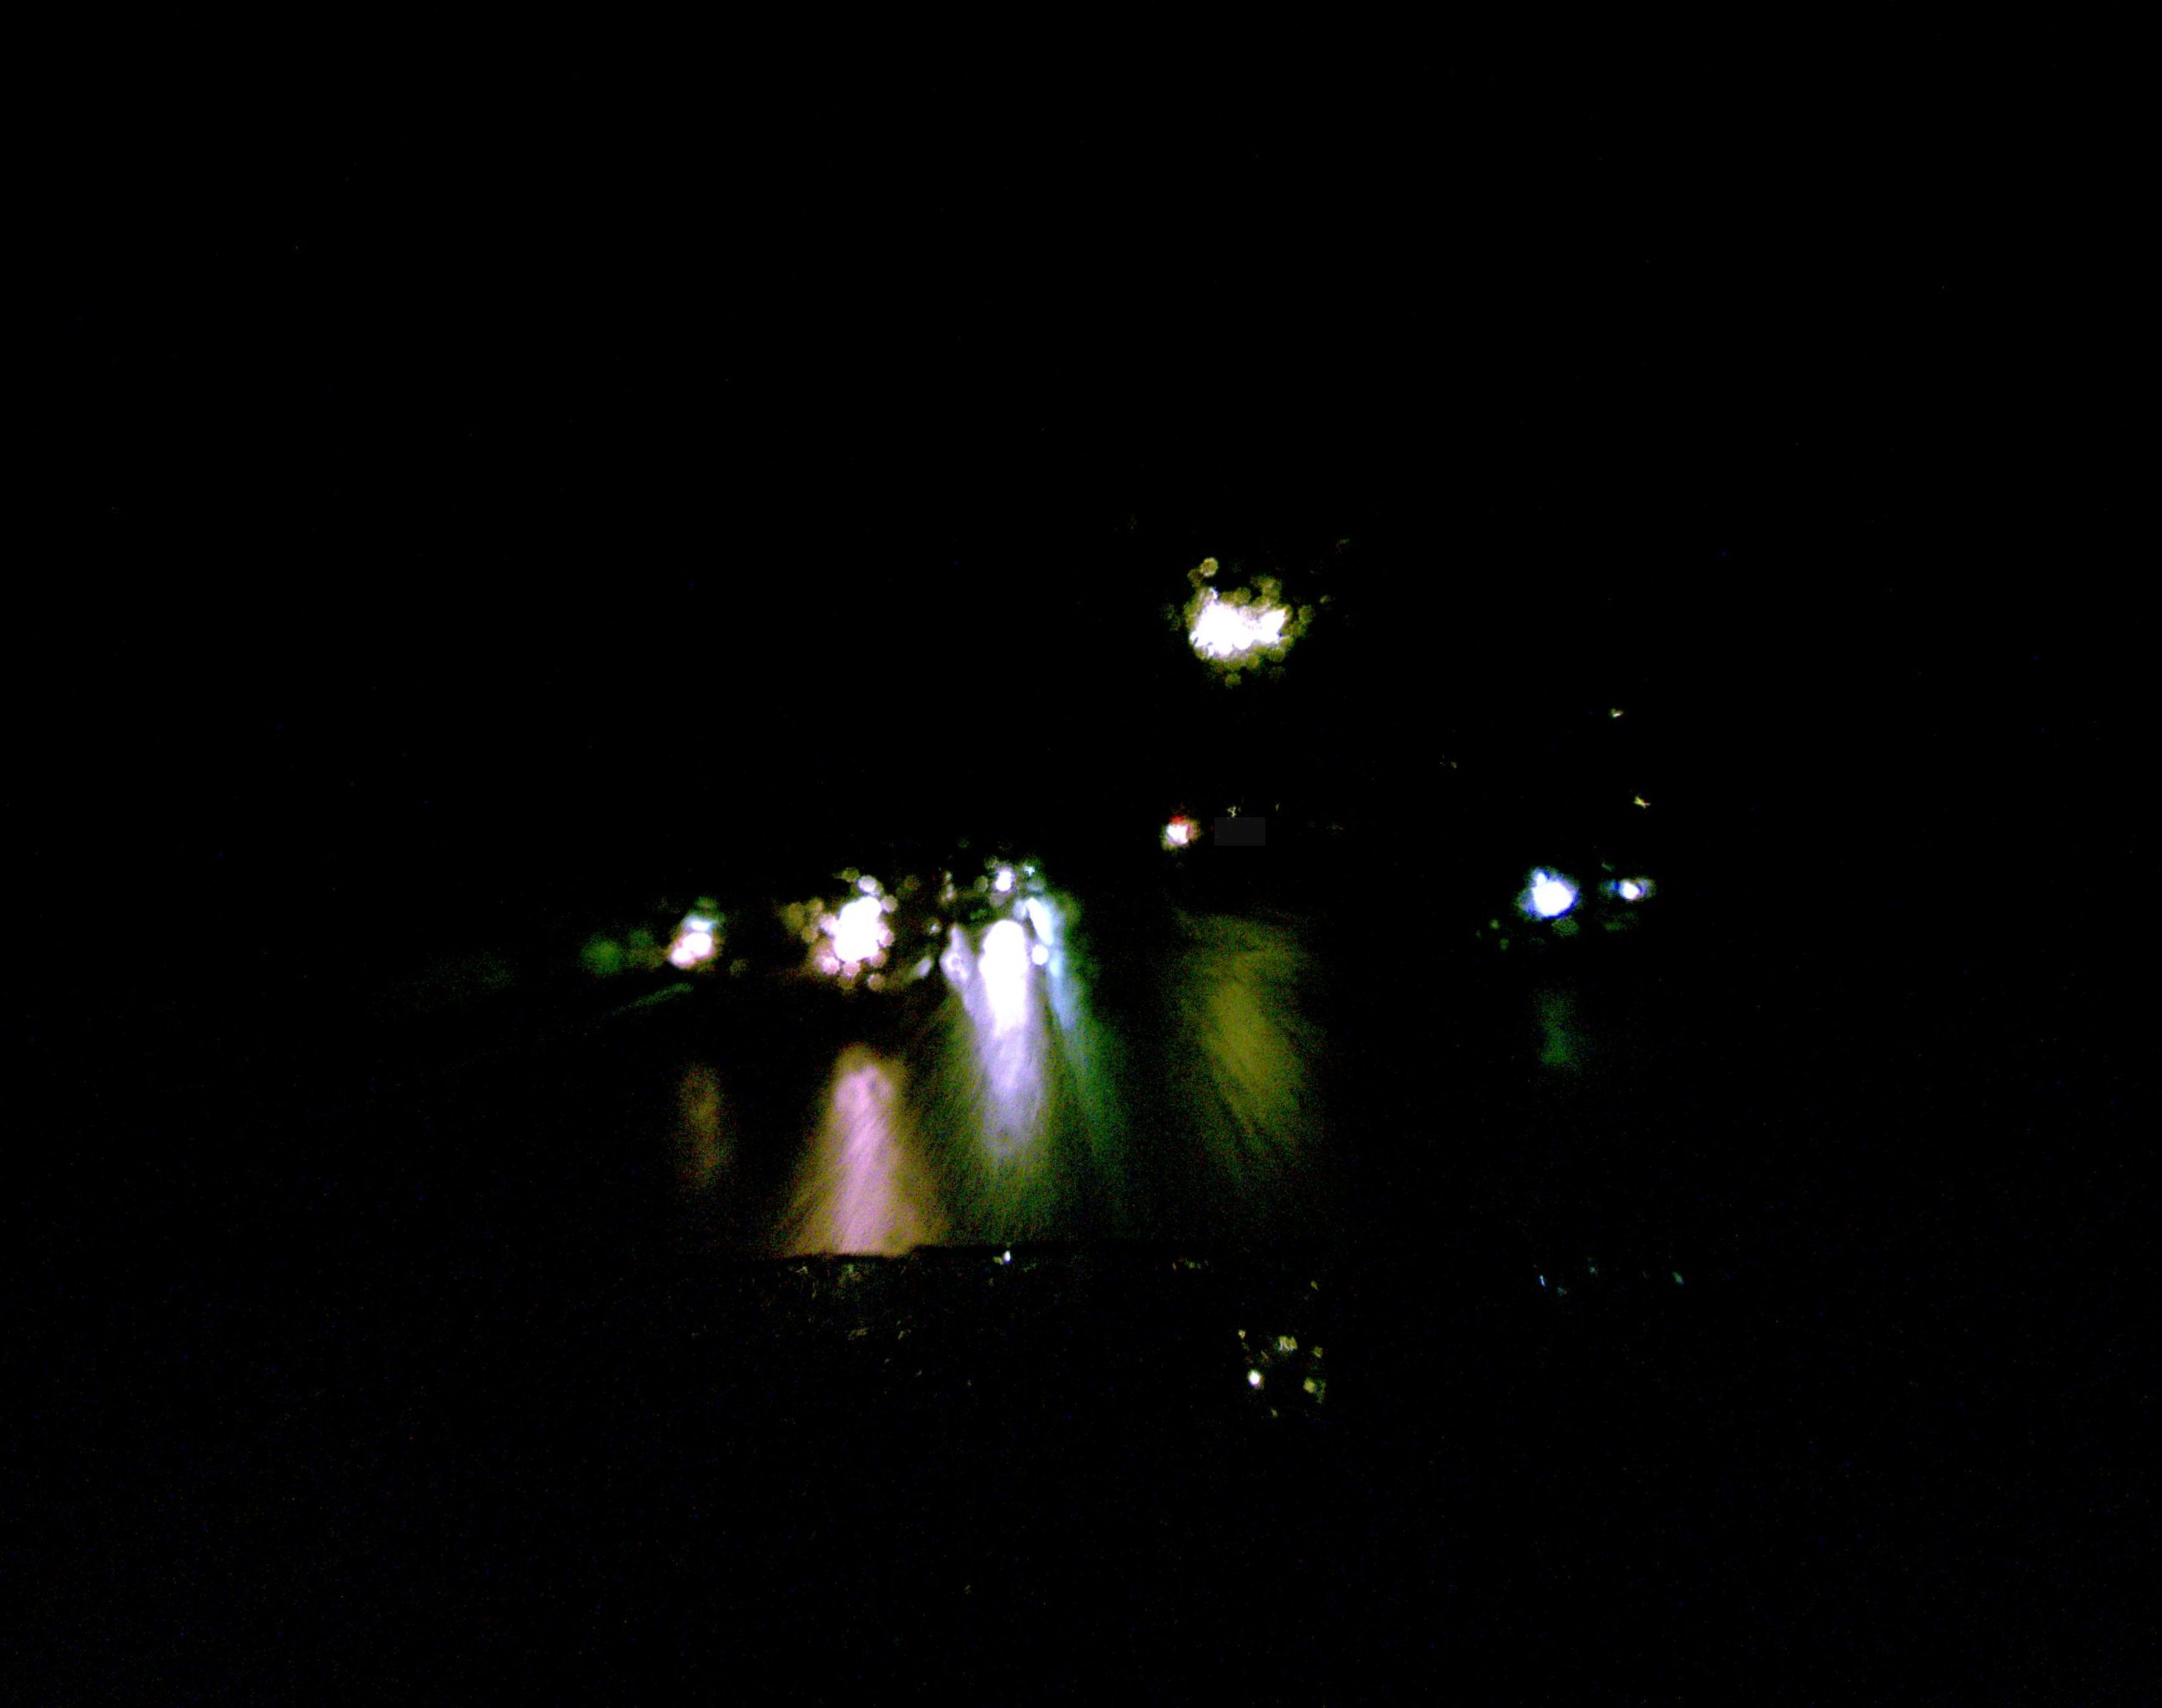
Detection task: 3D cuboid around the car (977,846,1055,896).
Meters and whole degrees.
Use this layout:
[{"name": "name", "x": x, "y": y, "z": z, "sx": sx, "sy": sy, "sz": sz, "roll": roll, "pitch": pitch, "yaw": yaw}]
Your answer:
[{"name": "car", "x": -2.266, "y": 0.555, "z": 27.773, "sx": 1.998, "sy": 1.544, "sz": 4.694, "roll": -3, "pitch": 1, "yaw": 5}]

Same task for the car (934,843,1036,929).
[{"name": "car", "x": -2.252, "y": 0.673, "z": 18.914, "sx": 1.794, "sy": 1.802, "sz": 4.198, "roll": -3, "pitch": 1, "yaw": 2}]

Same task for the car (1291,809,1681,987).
[{"name": "car", "x": 5.152, "y": 0.445, "z": 10.497, "sx": 2.002, "sy": 1.833, "sz": 4.516, "roll": -3, "pitch": 1, "yaw": -21}]

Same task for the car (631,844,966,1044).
[{"name": "car", "x": -2.761, "y": 0.735, "z": 8.874, "sx": 1.878, "sy": 1.579, "sz": 4.888, "roll": -3, "pitch": 1, "yaw": 2}]
